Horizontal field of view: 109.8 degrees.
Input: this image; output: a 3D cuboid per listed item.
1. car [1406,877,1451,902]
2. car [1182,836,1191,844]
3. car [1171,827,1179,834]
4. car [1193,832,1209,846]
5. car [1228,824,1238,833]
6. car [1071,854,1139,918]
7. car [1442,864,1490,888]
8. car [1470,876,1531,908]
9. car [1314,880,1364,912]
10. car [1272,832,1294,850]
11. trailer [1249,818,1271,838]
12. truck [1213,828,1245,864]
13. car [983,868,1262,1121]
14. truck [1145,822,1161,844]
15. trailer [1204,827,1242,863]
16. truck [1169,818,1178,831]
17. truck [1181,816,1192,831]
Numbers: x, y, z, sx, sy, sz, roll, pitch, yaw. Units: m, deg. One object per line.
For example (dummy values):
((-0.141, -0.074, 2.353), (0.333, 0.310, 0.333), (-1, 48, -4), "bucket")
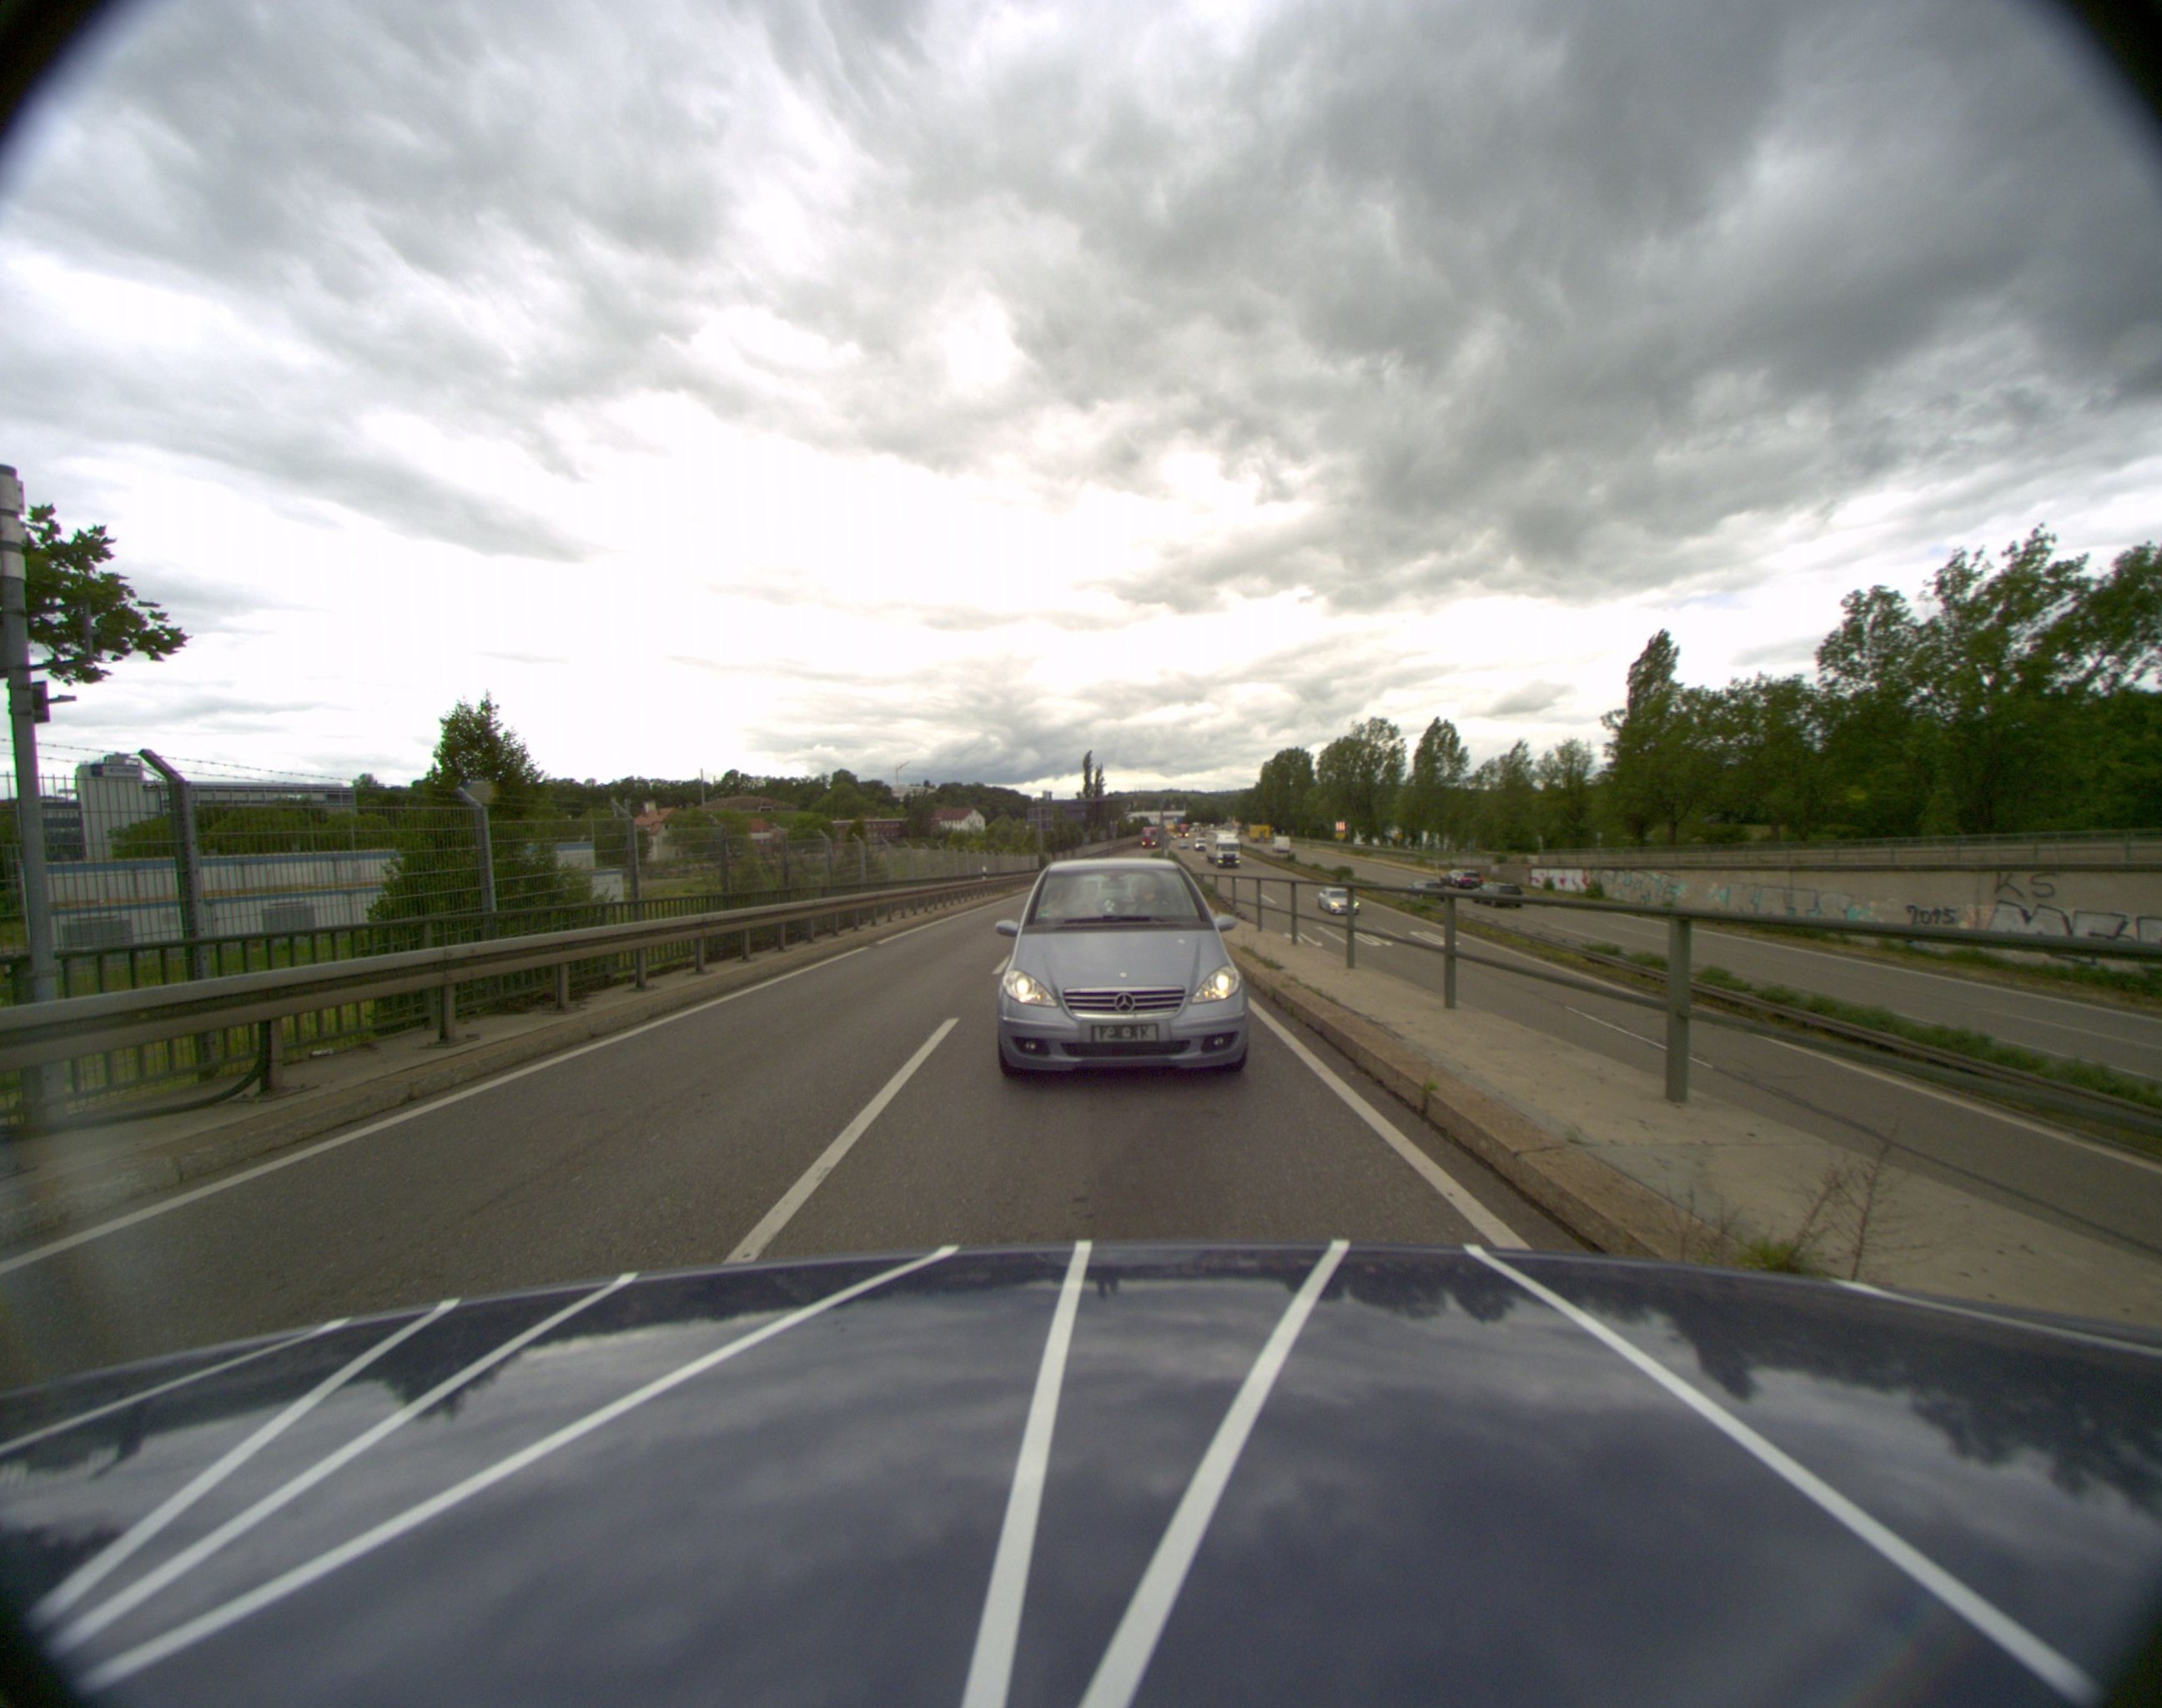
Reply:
((25.020, 2.547, 54.785), (1.718, 1.446, 3.649), (-1, 3, 3), "car")
((19.999, -2.601, 144.010), (1.512, 1.365, 3.536), (0, 3, 3), "car")
((26.494, -6.637, 214.135), (1.810, 1.658, 3.999), (-1, 3, 4), "car")
((21.150, -2.602, 134.302), (2.104, 2.231, 6.498), (0, 3, 3), "car")
((49.256, -8.332, 245.859), (1.998, 2.614, 6.711), (1, 3, 3), "car")
((0.695, 0.923, 23.146), (1.830, 1.701, 4.001), (-2, -1, 1), "car")
((32.182, 1.789, 63.682), (1.864, 1.643, 4.632), (0, 3, 3), "car")
((28.168, 2.535, 51.143), (1.886, 1.709, 4.181), (0, 3, 3), "car")
((16.661, 2.686, 49.342), (1.854, 1.562, 4.436), (-1, 4, 2), "car")
((33.150, -2.177, 124.904), (2.172, 2.580, 6.099), (-1, 3, 1), "car")
((41.432, -6.144, 176.416), (3.247, 4.239, 13.678), (0, 3, 5), "trailer")
((17.729, -0.977, 91.300), (3.010, 4.087, 5.872), (0, 3, 3), "truck")
((0.293, 0.926, 6.791), (1.743, 1.534, 3.993), (-1, 0, 1), "car")
((14.207, -4.220, 150.709), (3.101, 3.990, 8.487), (-1, 4, 5), "truck")
((18.145, -1.345, 97.976), (3.010, 4.087, 13.984), (0, 3, 3), "trailer")
((29.295, -9.343, 241.324), (2.415, 4.100, 8.169), (0, 3, 4), "truck")
((34.139, -9.940, 246.675), (2.754, 4.712, 9.916), (1, 3, 4), "truck")
